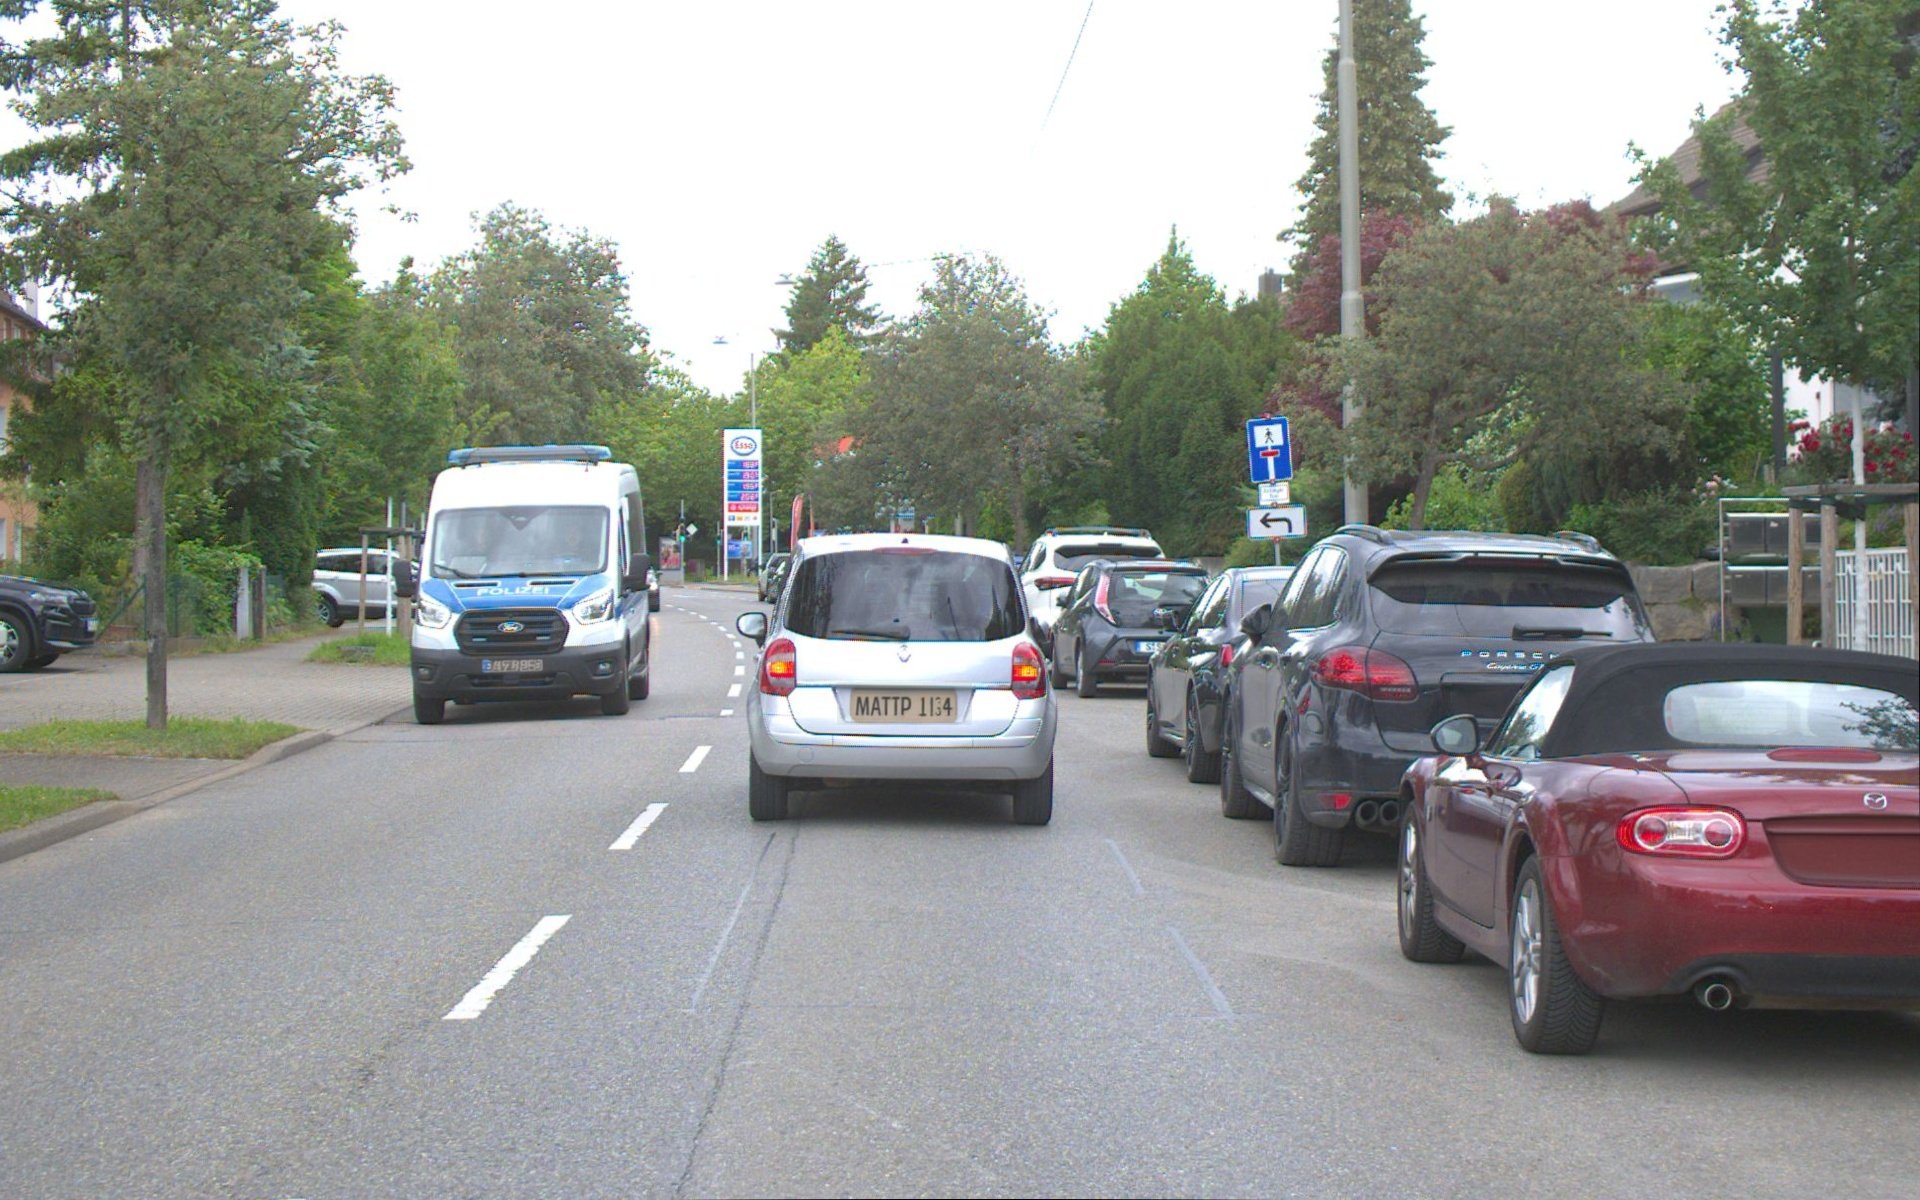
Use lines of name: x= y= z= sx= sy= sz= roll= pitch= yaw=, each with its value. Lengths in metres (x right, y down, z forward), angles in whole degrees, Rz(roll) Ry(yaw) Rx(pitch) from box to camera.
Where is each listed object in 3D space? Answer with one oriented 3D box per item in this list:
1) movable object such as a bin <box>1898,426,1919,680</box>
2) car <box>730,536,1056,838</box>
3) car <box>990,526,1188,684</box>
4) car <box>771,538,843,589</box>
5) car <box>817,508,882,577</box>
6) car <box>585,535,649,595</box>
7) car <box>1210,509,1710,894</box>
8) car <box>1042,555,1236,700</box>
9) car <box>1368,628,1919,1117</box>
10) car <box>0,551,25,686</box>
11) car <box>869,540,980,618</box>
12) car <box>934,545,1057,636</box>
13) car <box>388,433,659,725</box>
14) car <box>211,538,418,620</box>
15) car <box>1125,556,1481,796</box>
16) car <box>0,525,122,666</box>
movable object such as a bin: x=8.779 y=-0.343 z=27.066 sx=2.310 sy=2.007 sz=1.344 roll=1 pitch=0 yaw=-6
car: x=-0.353 y=0.423 z=19.683 sx=1.679 sy=1.554 sz=3.512 roll=1 pitch=1 yaw=0
car: x=1.508 y=0.020 z=41.812 sx=1.799 sy=1.772 sz=4.706 roll=1 pitch=1 yaw=-5
car: x=-4.614 y=-1.105 z=103.390 sx=1.695 sy=1.501 sz=3.974 roll=0 pitch=1 yaw=-9
car: x=-4.802 y=-2.485 z=148.670 sx=2.281 sy=2.901 sz=5.280 roll=1 pitch=1 yaw=-7
car: x=-9.088 y=-0.919 z=91.197 sx=1.574 sy=1.467 sz=3.471 roll=-3 pitch=1 yaw=-5
car: x=2.425 y=0.421 z=17.801 sx=1.830 sy=1.706 sz=4.549 roll=1 pitch=1 yaw=-1
car: x=1.869 y=0.264 z=36.762 sx=1.558 sy=1.438 sz=3.507 roll=1 pitch=1 yaw=-5
car: x=2.402 y=0.783 z=11.509 sx=1.481 sy=1.232 sz=3.884 roll=2 pitch=1 yaw=-1
car: x=-11.865 y=0.115 z=35.002 sx=4.277 sy=1.363 sz=1.817 roll=2 pitch=0 yaw=-8
car: x=-0.783 y=-0.430 z=72.545 sx=1.695 sy=1.552 sz=3.956 roll=2 pitch=0 yaw=-10
car: x=0.555 y=-0.179 z=56.983 sx=1.626 sy=1.447 sz=3.877 roll=0 pitch=1 yaw=-5
car: x=-4.188 y=-0.234 z=33.809 sx=2.073 sy=2.573 sz=5.300 roll=-2 pitch=1 yaw=-2
car: x=-13.580 y=-0.460 z=72.489 sx=4.086 sy=1.700 sz=1.748 roll=0 pitch=1 yaw=-3
car: x=2.265 y=0.449 z=23.862 sx=1.830 sy=1.452 sz=4.550 roll=1 pitch=1 yaw=-2
car: x=-12.308 y=-0.091 z=40.562 sx=4.333 sy=1.612 sz=1.973 roll=1 pitch=0 yaw=0
